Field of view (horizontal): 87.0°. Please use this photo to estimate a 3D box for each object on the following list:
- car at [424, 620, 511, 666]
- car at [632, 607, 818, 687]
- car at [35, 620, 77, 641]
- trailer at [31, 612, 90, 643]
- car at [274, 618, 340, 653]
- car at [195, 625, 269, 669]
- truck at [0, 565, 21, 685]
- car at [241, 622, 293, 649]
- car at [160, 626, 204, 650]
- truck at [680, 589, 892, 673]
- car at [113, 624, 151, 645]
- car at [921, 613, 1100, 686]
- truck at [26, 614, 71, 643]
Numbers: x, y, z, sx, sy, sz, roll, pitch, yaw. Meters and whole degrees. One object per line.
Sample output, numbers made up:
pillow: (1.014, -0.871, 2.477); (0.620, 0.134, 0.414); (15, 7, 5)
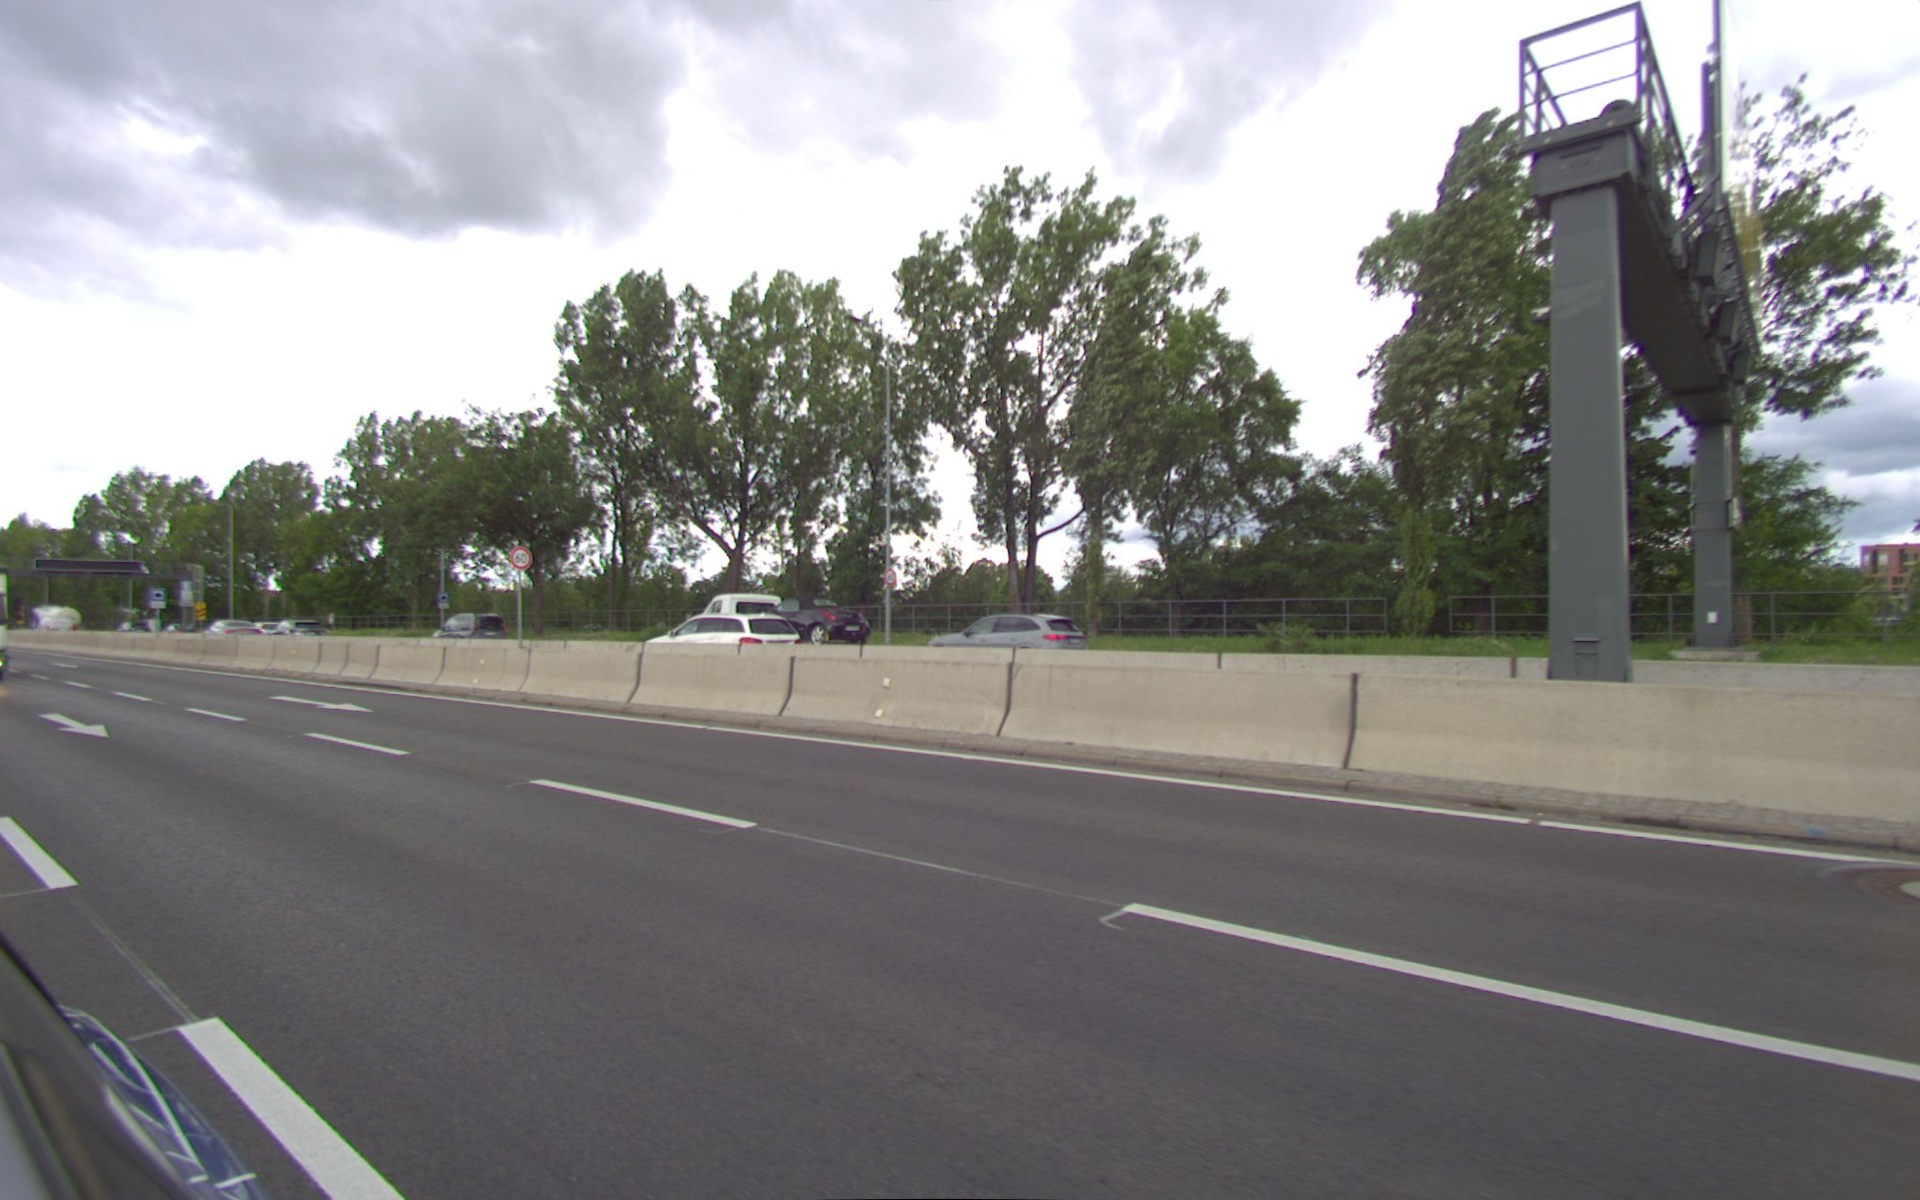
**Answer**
car: (-23.838, 2.040, 48.889); (4.934, 2.029, 1.973); (-2, 0, 41)
car: (-5.783, 1.110, 24.587); (4.692, 1.681, 1.973); (-2, 0, 41)
car: (-76.202, 2.572, 85.270); (4.882, 1.571, 1.973); (-2, 0, 40)
trailer: (-101.958, 3.159, 114.586); (11.655, 3.244, 3.070); (-2, 0, 39)
car: (-34.921, 1.894, 54.078); (4.123, 1.695, 1.858); (-2, 0, 41)
car: (-36.802, 2.346, 51.103); (4.679, 2.029, 1.973); (-2, 0, 41)
truck: (-28.688, 0.787, 28.016); (8.380, 3.106, 2.906); (-2, 0, 40)
car: (-46.557, 2.381, 67.965); (4.120, 1.695, 1.858); (-2, 0, 41)
car: (-63.361, 3.104, 82.376); (4.468, 1.752, 1.973); (-2, 0, 42)
truck: (-4.938, 0.843, 28.007); (6.296, 2.029, 2.182); (-2, 0, 40)
car: (-74.042, 3.062, 90.474); (4.302, 1.752, 1.973); (-2, 0, 42)
car: (1.276, 1.276, 26.737); (4.409, 1.697, 1.973); (-2, 0, 41)
truck: (-106.895, 3.334, 118.637); (5.385, 3.243, 3.068); (-2, 0, 39)
